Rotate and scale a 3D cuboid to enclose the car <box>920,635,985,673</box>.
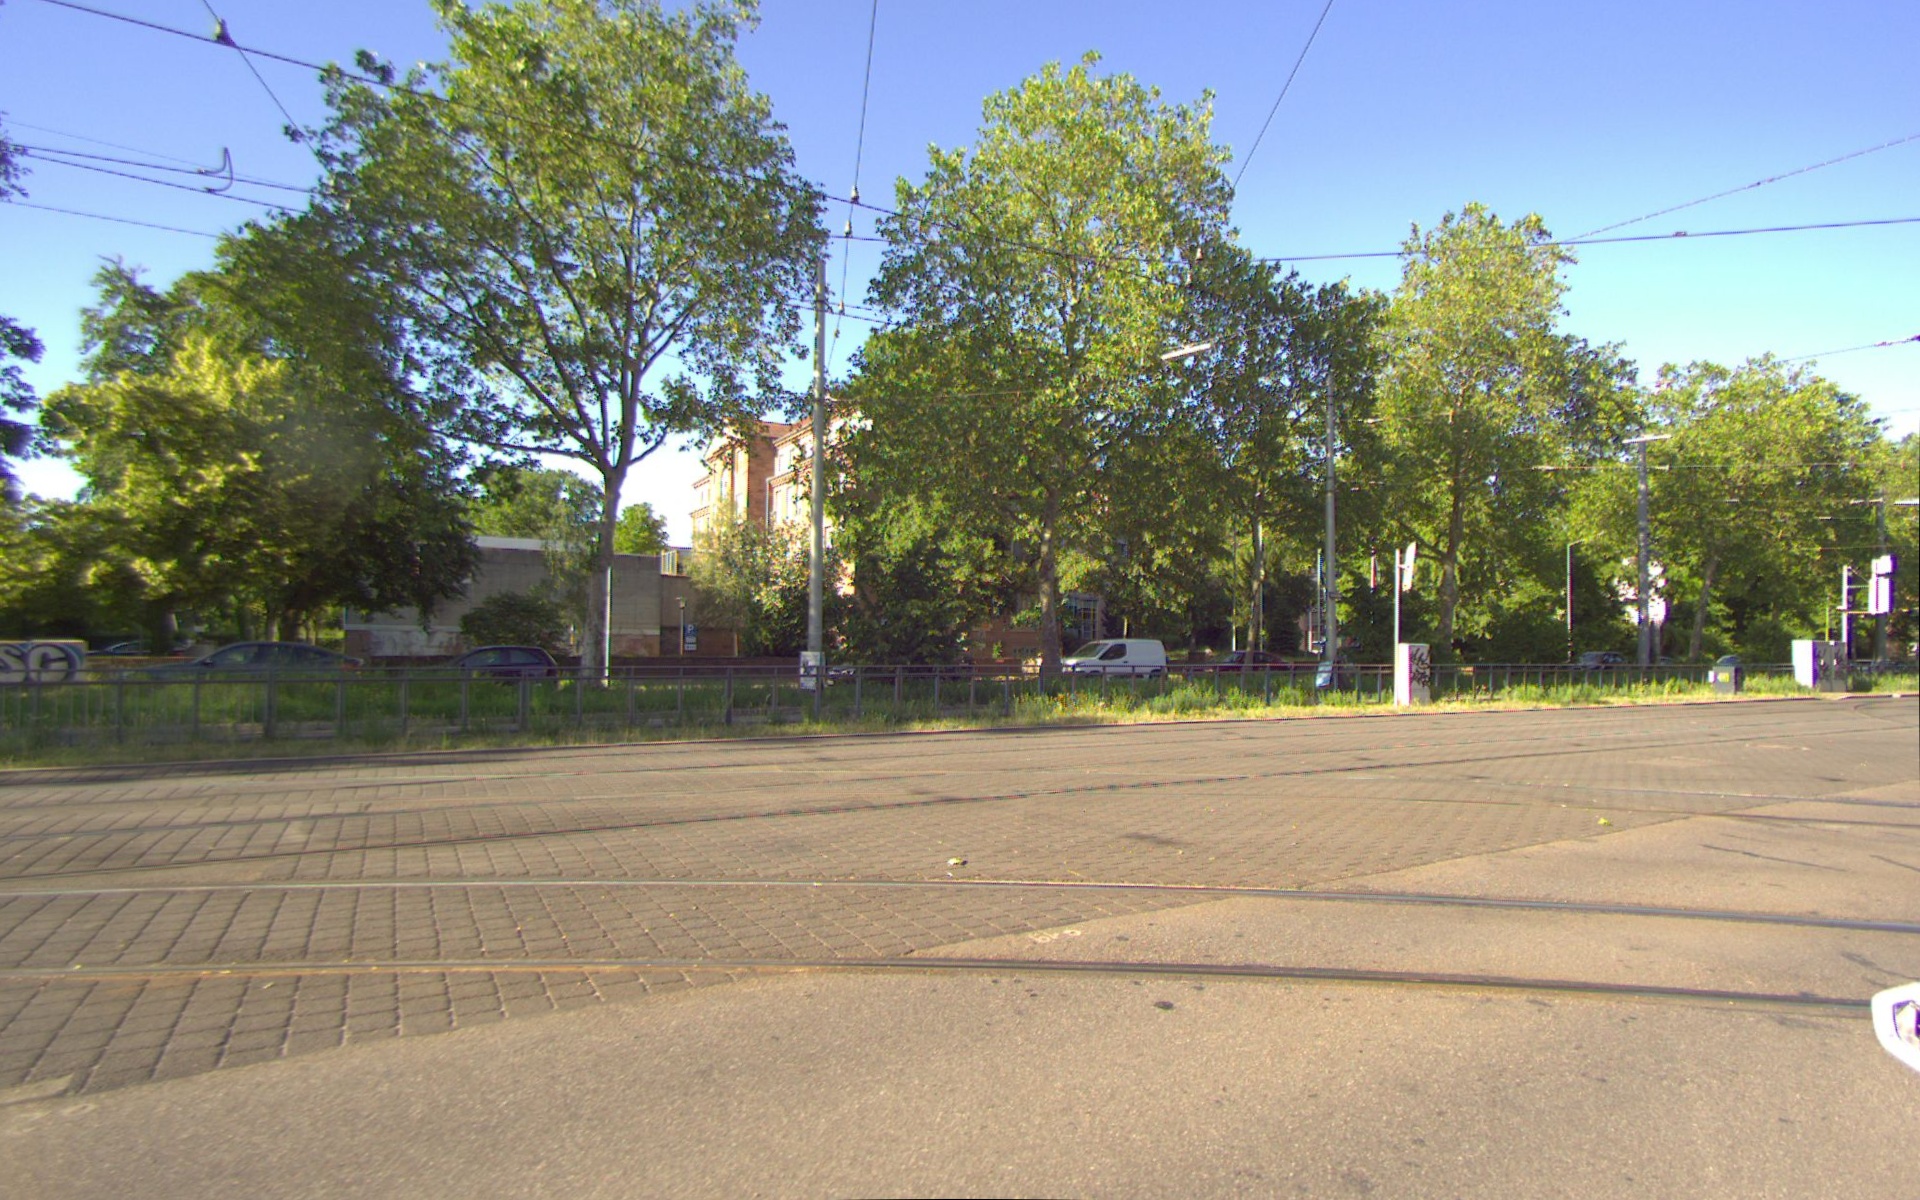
[{"bbox_3d":[-0.377,2.330,43.969,1.374,1.514,3.976,1,-2,-24],"label":"car"}]

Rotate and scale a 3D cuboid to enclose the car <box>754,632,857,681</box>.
[{"bbox_3d":[-6.687,2.422,43.415,3.952,2.040,1.985,2,-2,-29],"label":"car"}]

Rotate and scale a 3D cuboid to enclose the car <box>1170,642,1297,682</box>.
[{"bbox_3d":[10.595,2.396,38.792,4.793,1.366,1.927,3,-2,-31],"label":"car"}]

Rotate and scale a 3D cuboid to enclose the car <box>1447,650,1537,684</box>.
[{"bbox_3d":[25.869,3.265,48.816,4.230,1.529,1.927,3,-2,-31],"label":"car"}]

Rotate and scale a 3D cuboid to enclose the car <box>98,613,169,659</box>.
[{"bbox_3d":[-38.552,1.649,46.959,1.809,2.040,3.969,2,-2,-29],"label":"car"}]

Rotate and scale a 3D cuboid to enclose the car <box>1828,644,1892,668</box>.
[{"bbox_3d":[61.654,3.822,68.821,4.793,1.529,1.927,2,-2,-31],"label":"car"}]

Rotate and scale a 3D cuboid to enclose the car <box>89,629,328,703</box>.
[{"bbox_3d":[-16.705,1.440,22.613,4.097,1.529,1.661,2,-2,-31],"label":"car"}]

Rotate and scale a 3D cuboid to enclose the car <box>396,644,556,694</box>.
[{"bbox_3d":[-12.202,1.715,25.351,3.531,1.155,1.498,2,-2,-31],"label":"car"}]

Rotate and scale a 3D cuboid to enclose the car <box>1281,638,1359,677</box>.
[{"bbox_3d":[19.742,3.147,55.109,3.954,2.040,1.984,2,-2,-31],"label":"car"}]

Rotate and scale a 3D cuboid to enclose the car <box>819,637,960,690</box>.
[{"bbox_3d":[-2.170,1.954,31.387,4.097,1.529,1.661,2,-2,-31],"label":"car"}]

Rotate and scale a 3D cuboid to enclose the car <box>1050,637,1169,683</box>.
[{"bbox_3d":[5.356,2.111,35.886,4.097,1.529,1.661,2,-2,-31],"label":"car"}]

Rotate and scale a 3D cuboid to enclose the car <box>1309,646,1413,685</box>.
[{"bbox_3d":[17.042,2.797,42.622,4.230,1.529,1.927,3,-2,-31],"label":"car"}]
